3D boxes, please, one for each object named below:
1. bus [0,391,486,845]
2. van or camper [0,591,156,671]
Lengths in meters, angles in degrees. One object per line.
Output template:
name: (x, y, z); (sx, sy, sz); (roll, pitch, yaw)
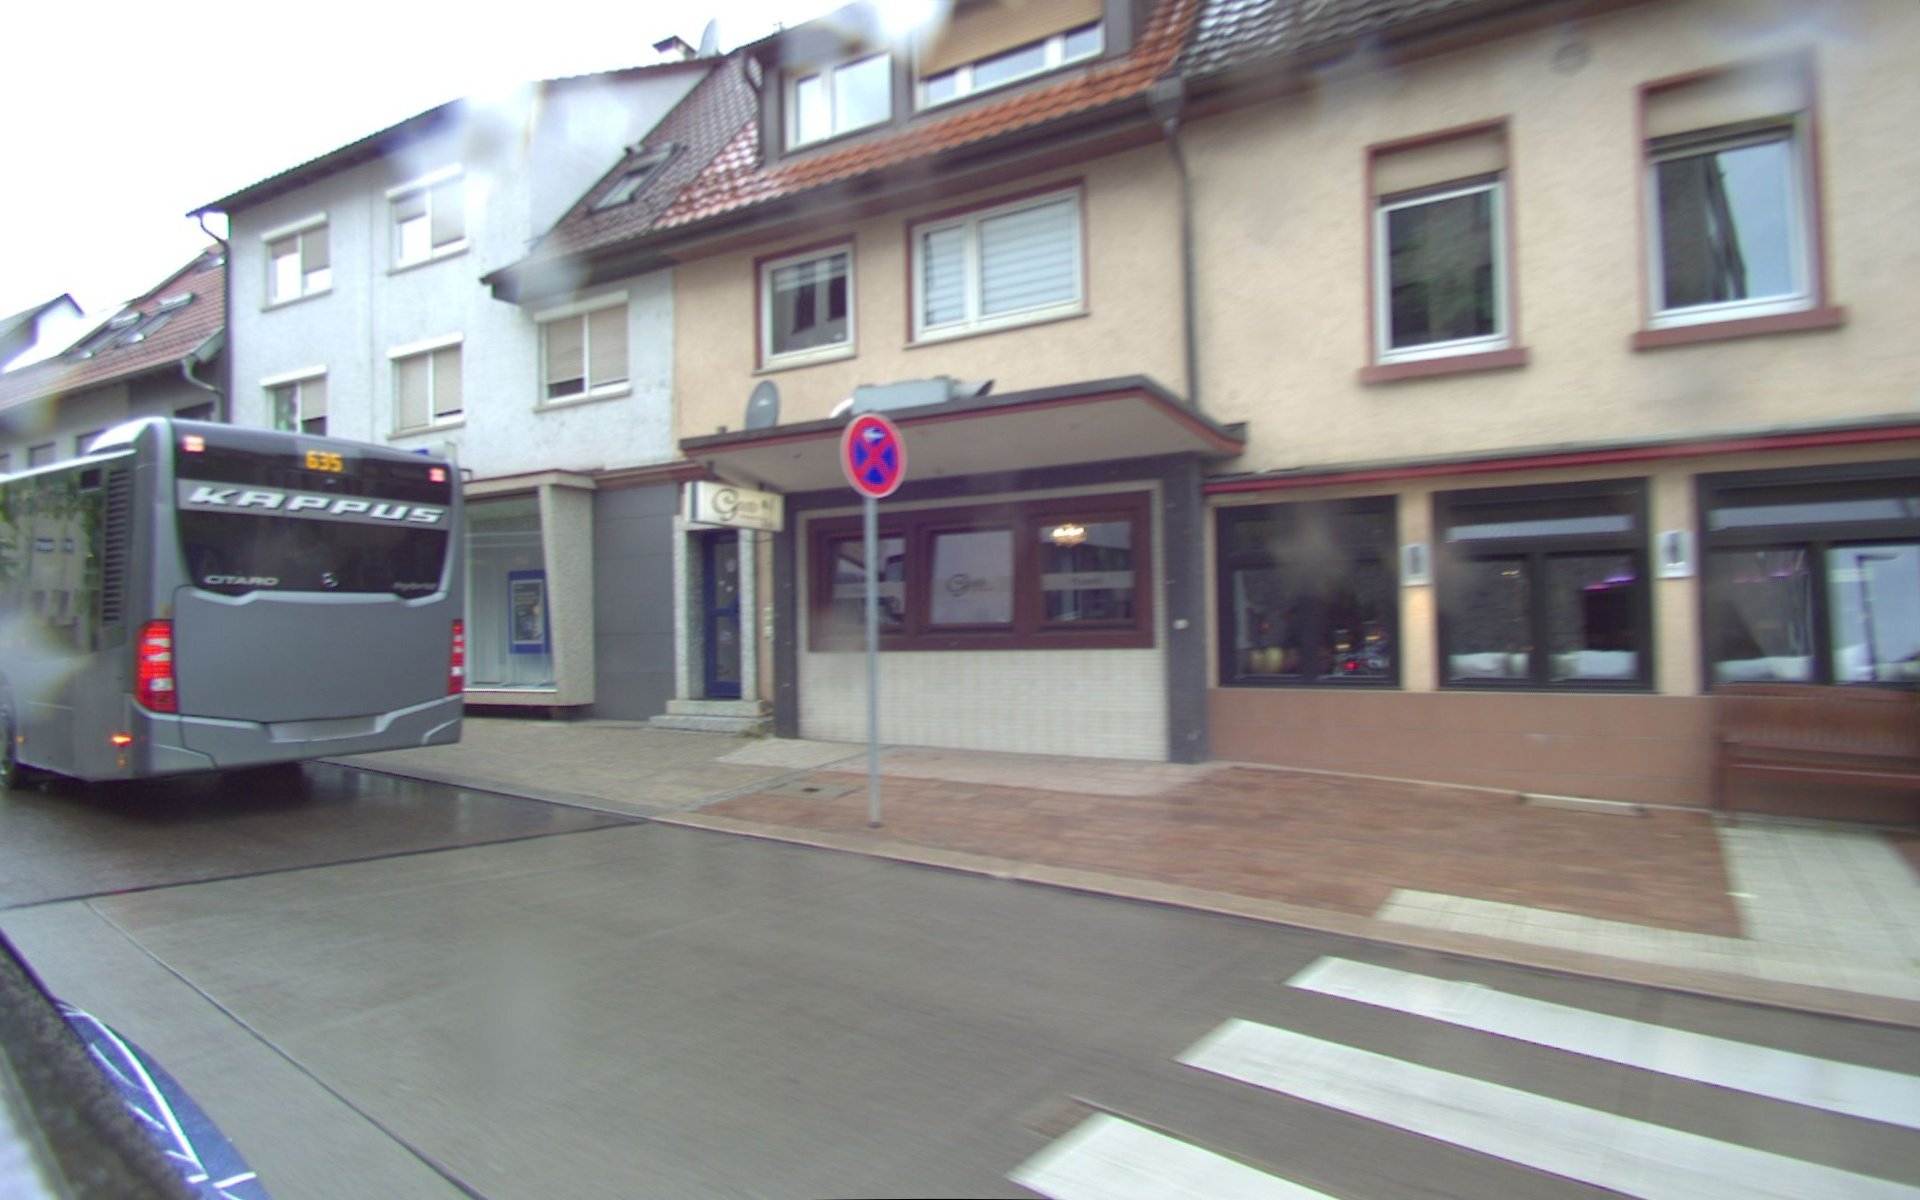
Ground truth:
bus: (-9.591, 0.210, 11.069); (10.914, 3.103, 2.702); (-1, -1, 33)
van or camper: (-26.616, 0.887, 29.133); (1.991, 1.947, 4.994); (0, 4, 28)
